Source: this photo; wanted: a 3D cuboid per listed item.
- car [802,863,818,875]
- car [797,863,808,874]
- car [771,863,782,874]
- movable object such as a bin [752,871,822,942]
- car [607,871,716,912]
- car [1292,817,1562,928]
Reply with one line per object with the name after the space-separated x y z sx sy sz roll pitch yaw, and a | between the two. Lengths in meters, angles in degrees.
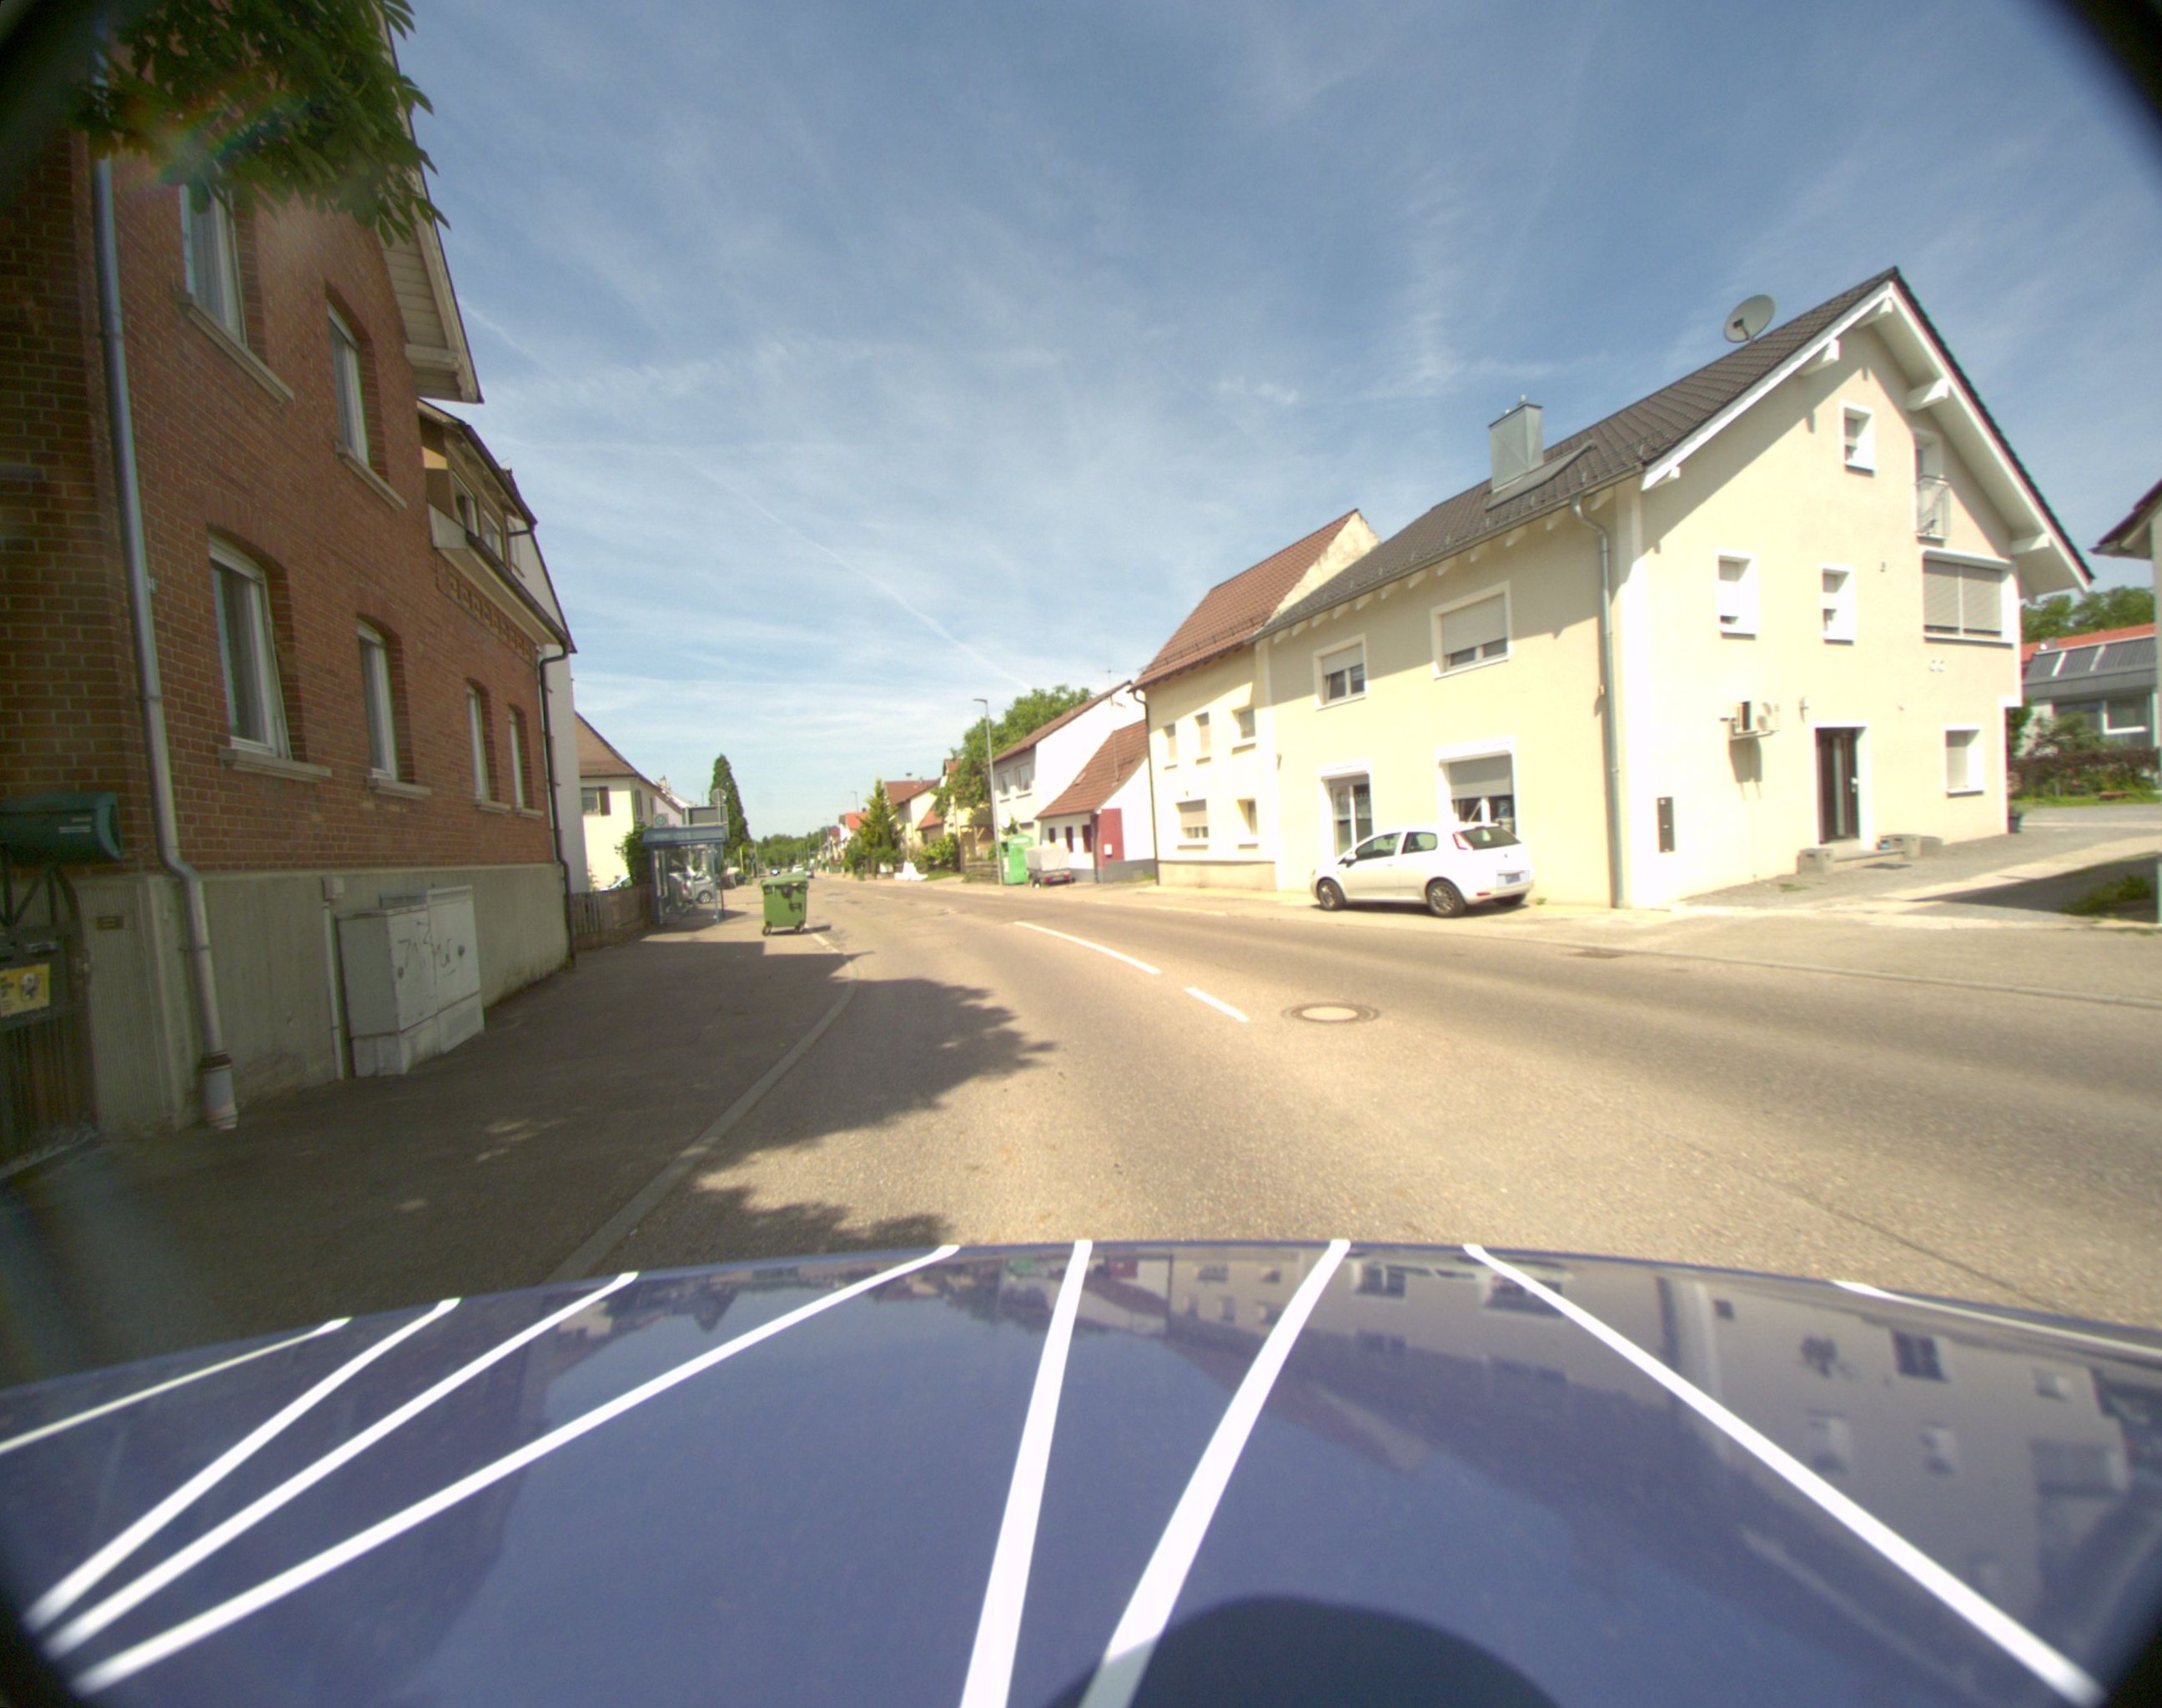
-34.385 1.902 96.442 1.651 1.349 3.560 -4 1 -23 | car
-45.077 2.281 122.901 1.412 1.690 3.310 -4 1 -23 | car
-49.329 2.335 123.043 1.412 1.690 3.310 -4 1 -23 | car
-6.956 1.202 17.955 1.357 1.512 1.289 -4 1 -25 | movable object such as a bin
-19.591 1.704 35.592 1.759 1.562 4.007 -3 1 44 | car
5.834 0.291 13.346 1.828 1.494 3.992 -6 2 -25 | car
